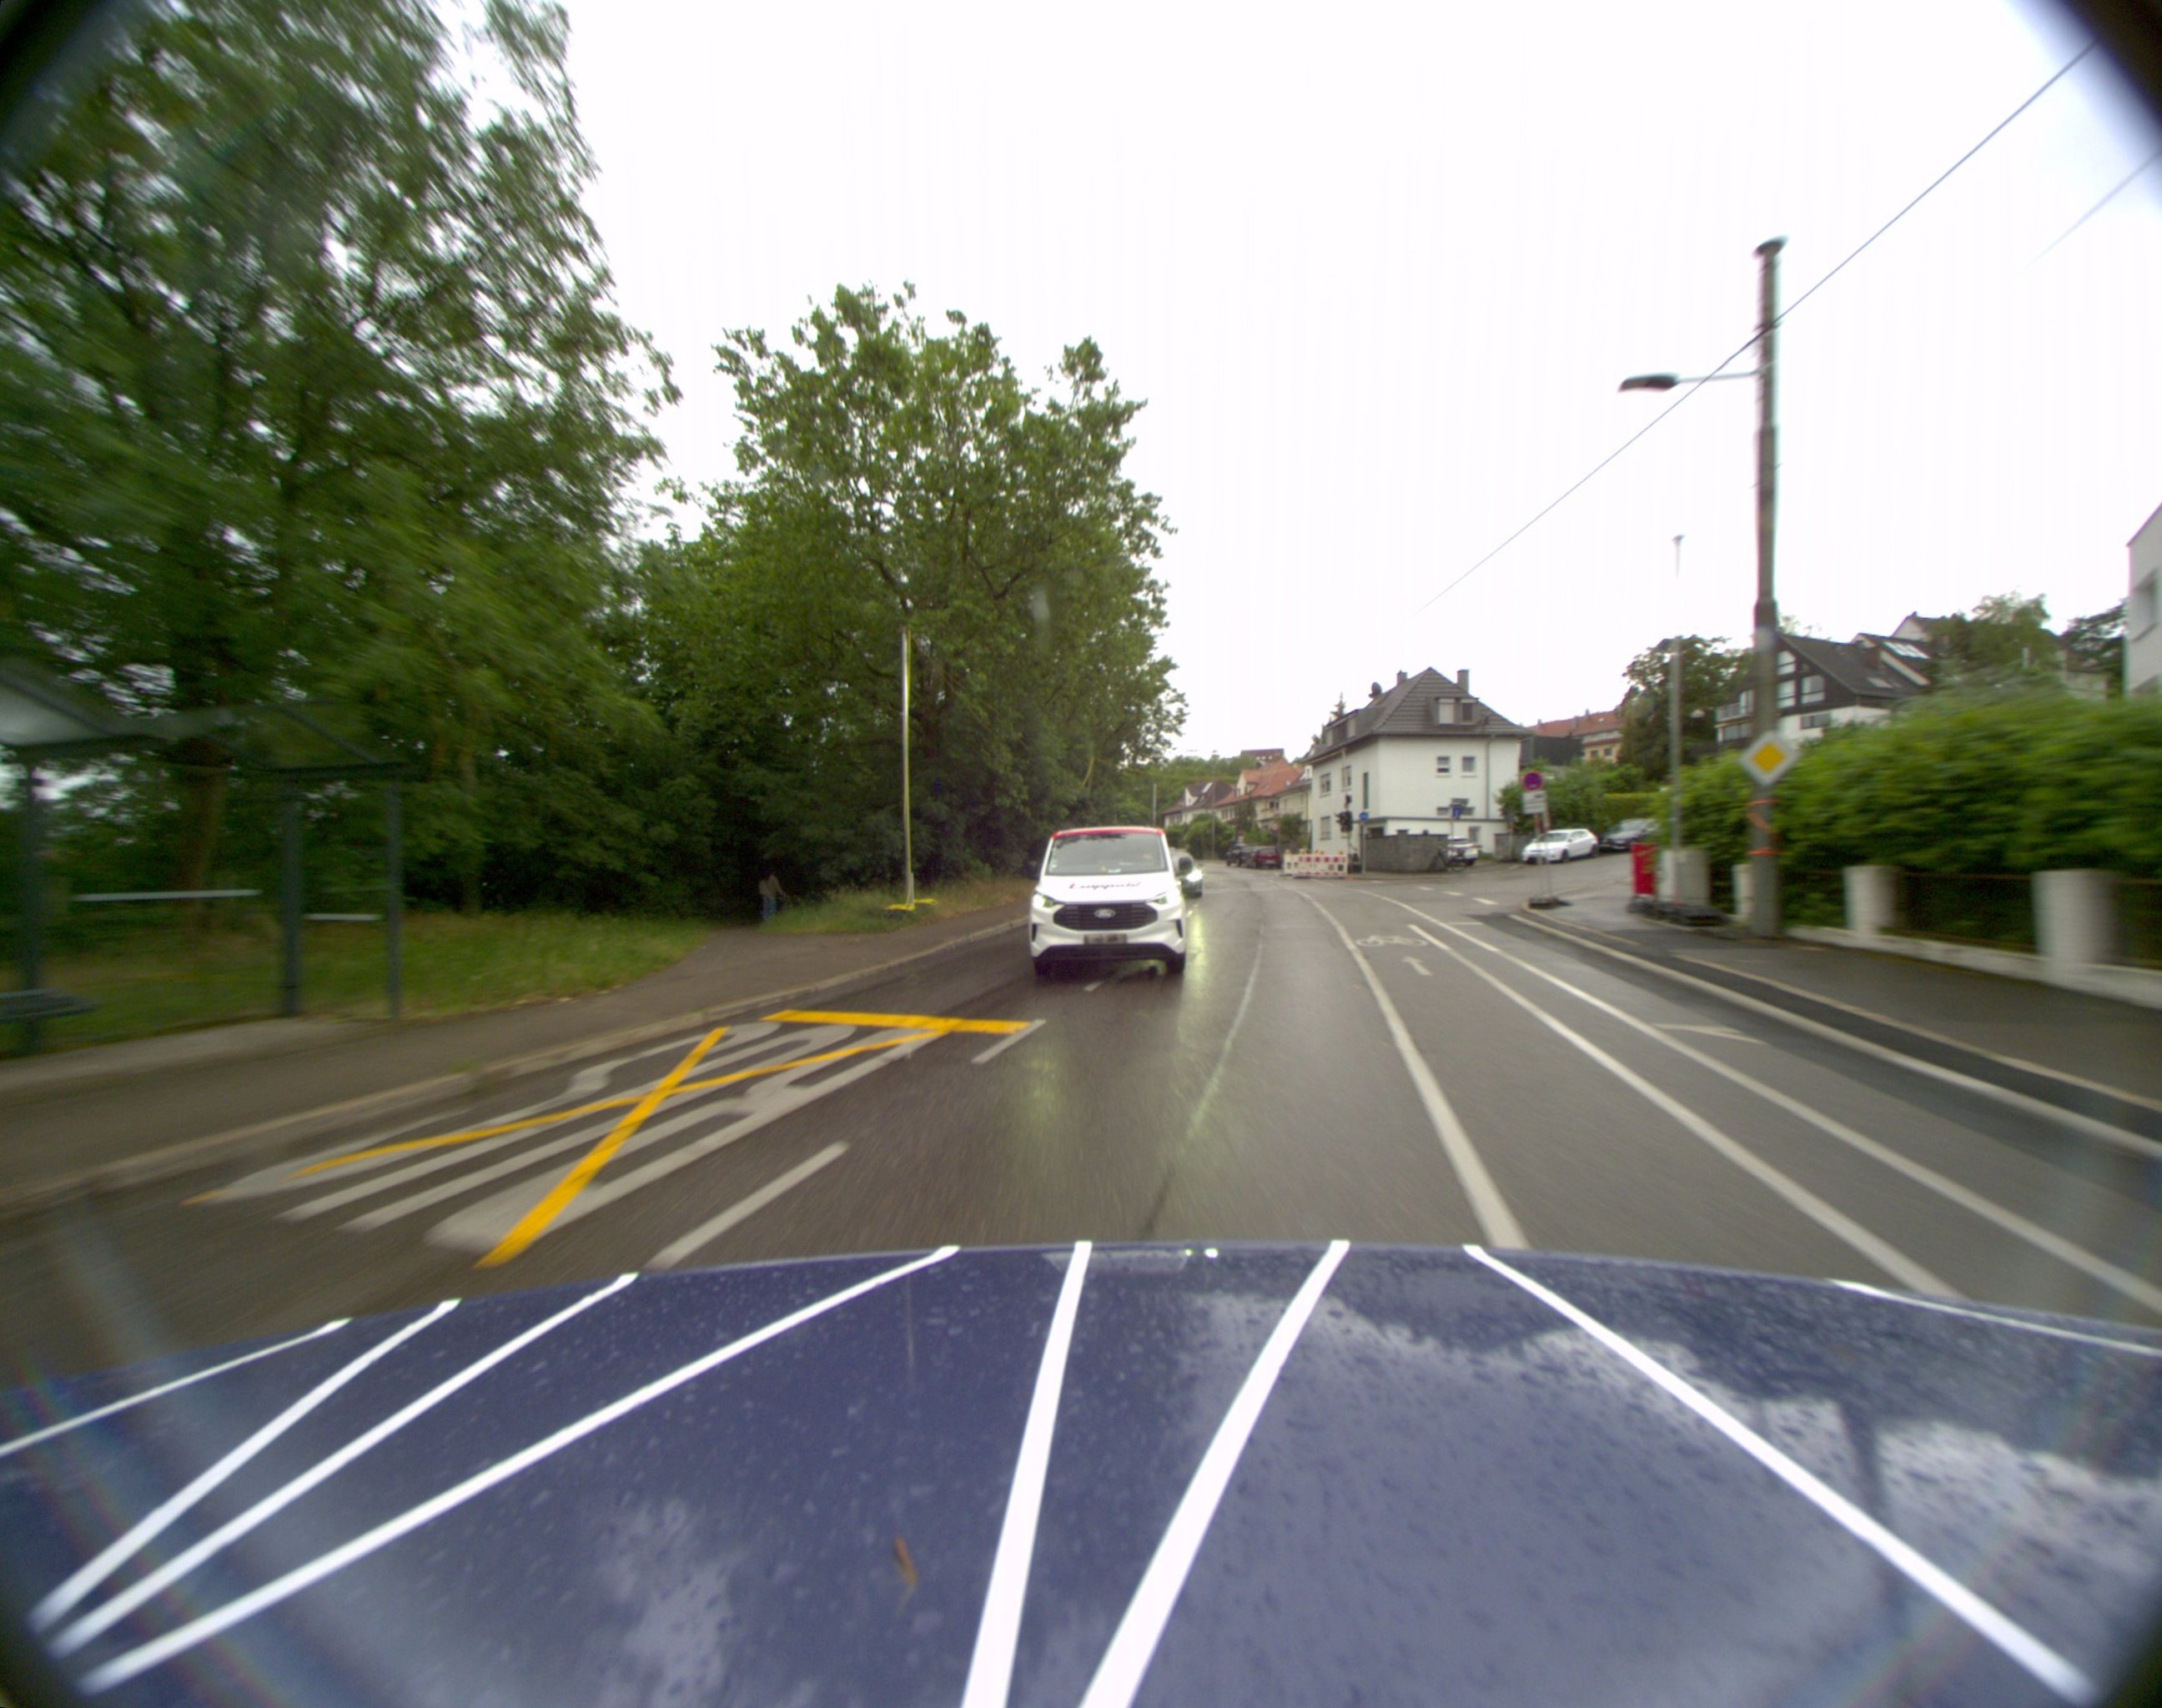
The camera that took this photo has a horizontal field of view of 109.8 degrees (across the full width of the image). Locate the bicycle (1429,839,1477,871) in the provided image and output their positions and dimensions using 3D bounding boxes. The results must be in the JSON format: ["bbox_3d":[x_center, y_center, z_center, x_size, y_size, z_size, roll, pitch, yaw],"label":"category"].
[{"bbox_3d":[16.193,0.029,33.127,1.731,1.304,0.707,-2,2,5],"label":"bicycle"}]

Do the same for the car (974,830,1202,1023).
[{"bbox_3d":[0.455,0.668,10.132,2.044,1.883,5.212,-2,1,11],"label":"car"}]

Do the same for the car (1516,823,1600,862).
[{"bbox_3d":[22.686,-0.550,36.123,3.565,1.458,1.746,-6,2,-28],"label":"car"}]

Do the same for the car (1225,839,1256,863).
[{"bbox_3d":[11.647,-0.185,55.609,1.669,1.579,4.007,-2,-1,4],"label":"car"}]

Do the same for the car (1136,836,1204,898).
[{"bbox_3d":[2.859,0.354,25.144,1.952,1.797,3.927,-2,1,4],"label":"car"}]

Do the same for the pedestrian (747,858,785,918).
[{"bbox_3d":[-8.772,0.944,21.181,0.732,1.595,0.751,-2,2,-9],"label":"pedestrian"}]

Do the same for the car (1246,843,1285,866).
[{"bbox_3d":[12.130,0.054,50.252,1.896,1.485,3.799,0,-1,4],"label":"car"}]

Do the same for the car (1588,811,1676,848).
[{"bbox_3d":[27.931,-1.240,38.492,3.857,1.458,1.701,-6,2,-21],"label":"car"}]
